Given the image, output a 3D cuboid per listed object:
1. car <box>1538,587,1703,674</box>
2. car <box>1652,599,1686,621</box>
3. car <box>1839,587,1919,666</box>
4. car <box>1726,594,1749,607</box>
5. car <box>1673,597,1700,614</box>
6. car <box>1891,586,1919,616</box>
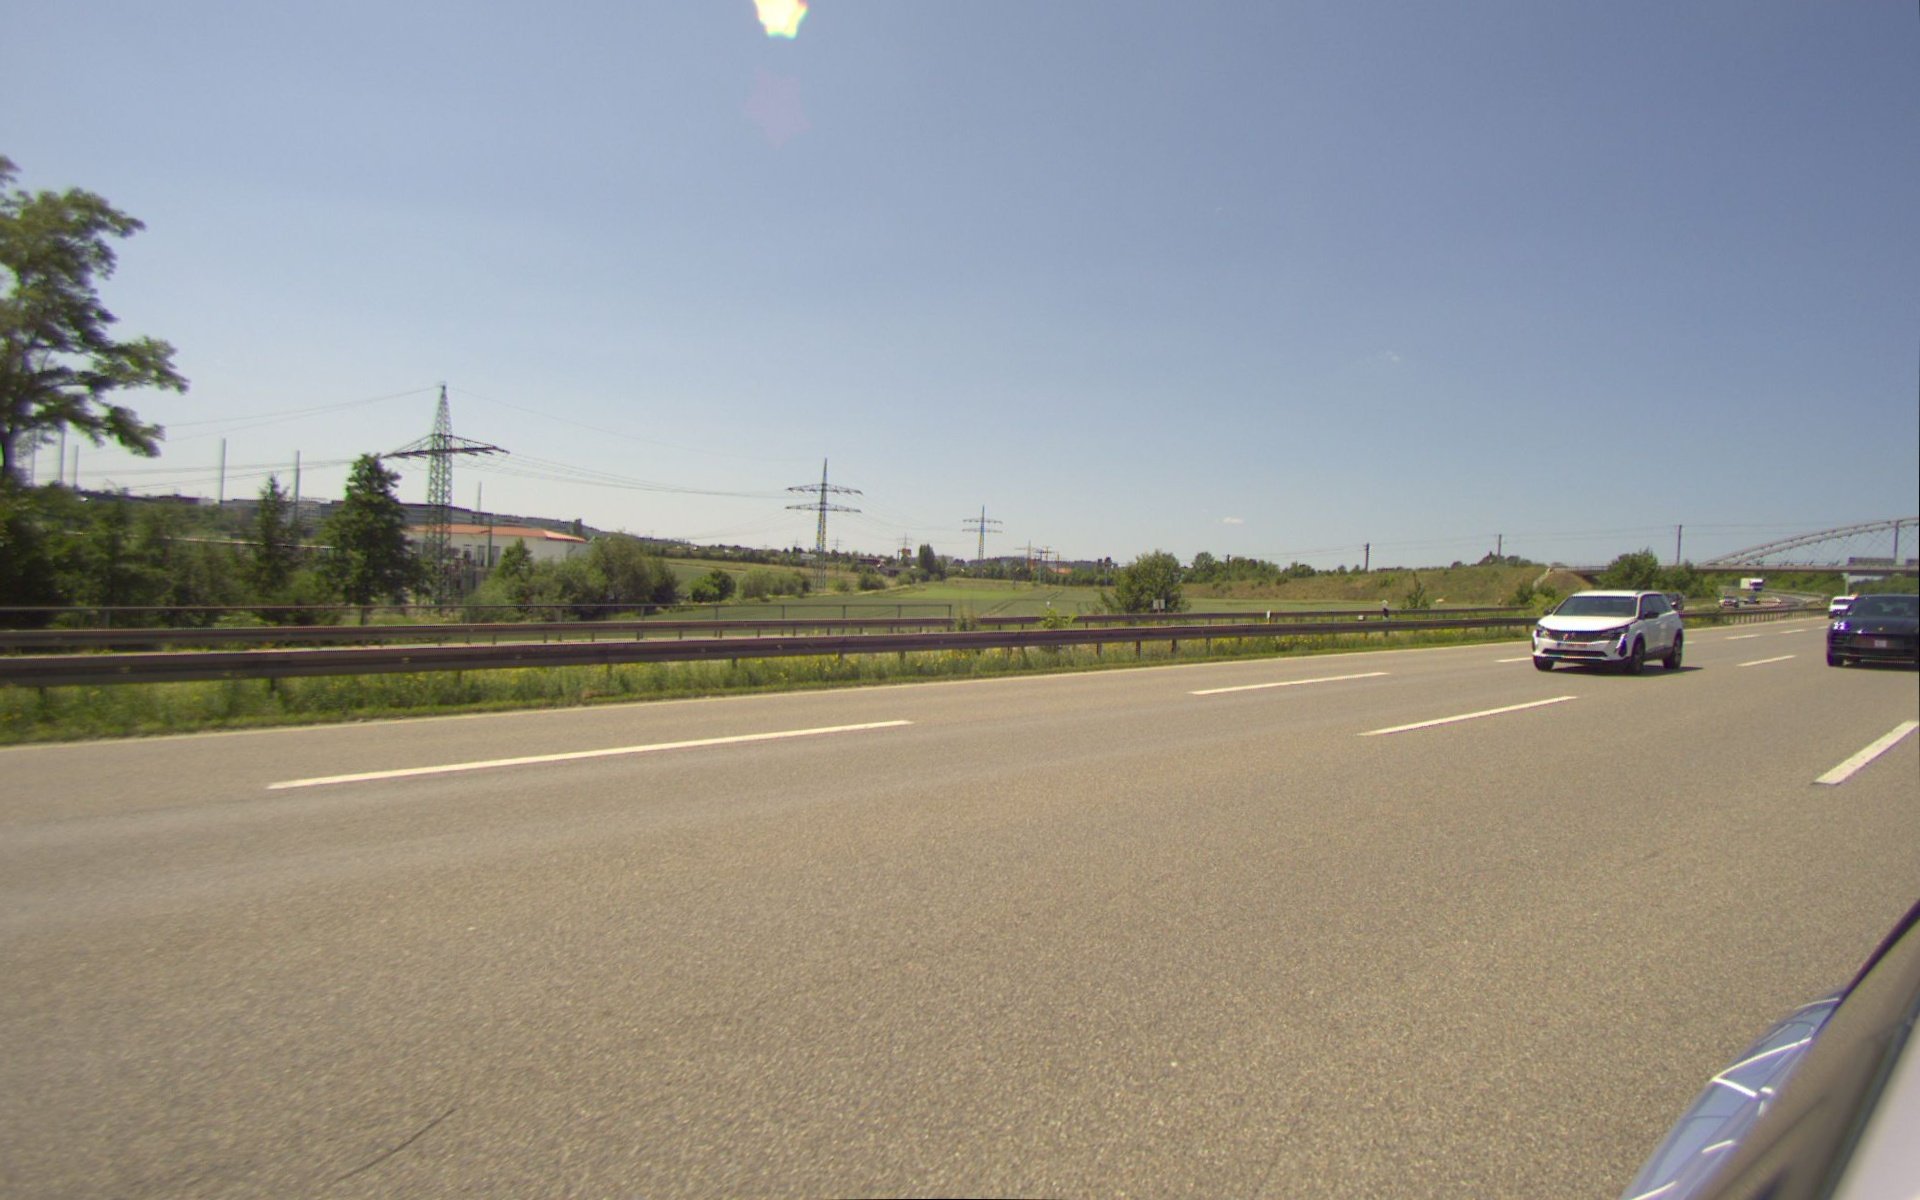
[{"bbox_3d":[13.751,0.540,20.947,4.540,1.611,1.746,-1,1,-42],"label":"car"},{"bbox_3d":[54.939,0.733,78.403,1.698,1.594,4.066,1,1,42],"label":"car"},{"bbox_3d":[21.009,0.526,22.399,4.062,1.615,1.929,-1,1,-43],"label":"car"},{"bbox_3d":[98.333,0.017,127.944,4.059,1.594,1.701,-1,1,-43],"label":"car"},{"bbox_3d":[69.906,0.490,97.399,1.698,1.594,4.066,1,1,42],"label":"car"},{"bbox_3d":[63.692,0.023,67.664,4.223,1.943,1.806,-1,1,-43],"label":"car"}]
